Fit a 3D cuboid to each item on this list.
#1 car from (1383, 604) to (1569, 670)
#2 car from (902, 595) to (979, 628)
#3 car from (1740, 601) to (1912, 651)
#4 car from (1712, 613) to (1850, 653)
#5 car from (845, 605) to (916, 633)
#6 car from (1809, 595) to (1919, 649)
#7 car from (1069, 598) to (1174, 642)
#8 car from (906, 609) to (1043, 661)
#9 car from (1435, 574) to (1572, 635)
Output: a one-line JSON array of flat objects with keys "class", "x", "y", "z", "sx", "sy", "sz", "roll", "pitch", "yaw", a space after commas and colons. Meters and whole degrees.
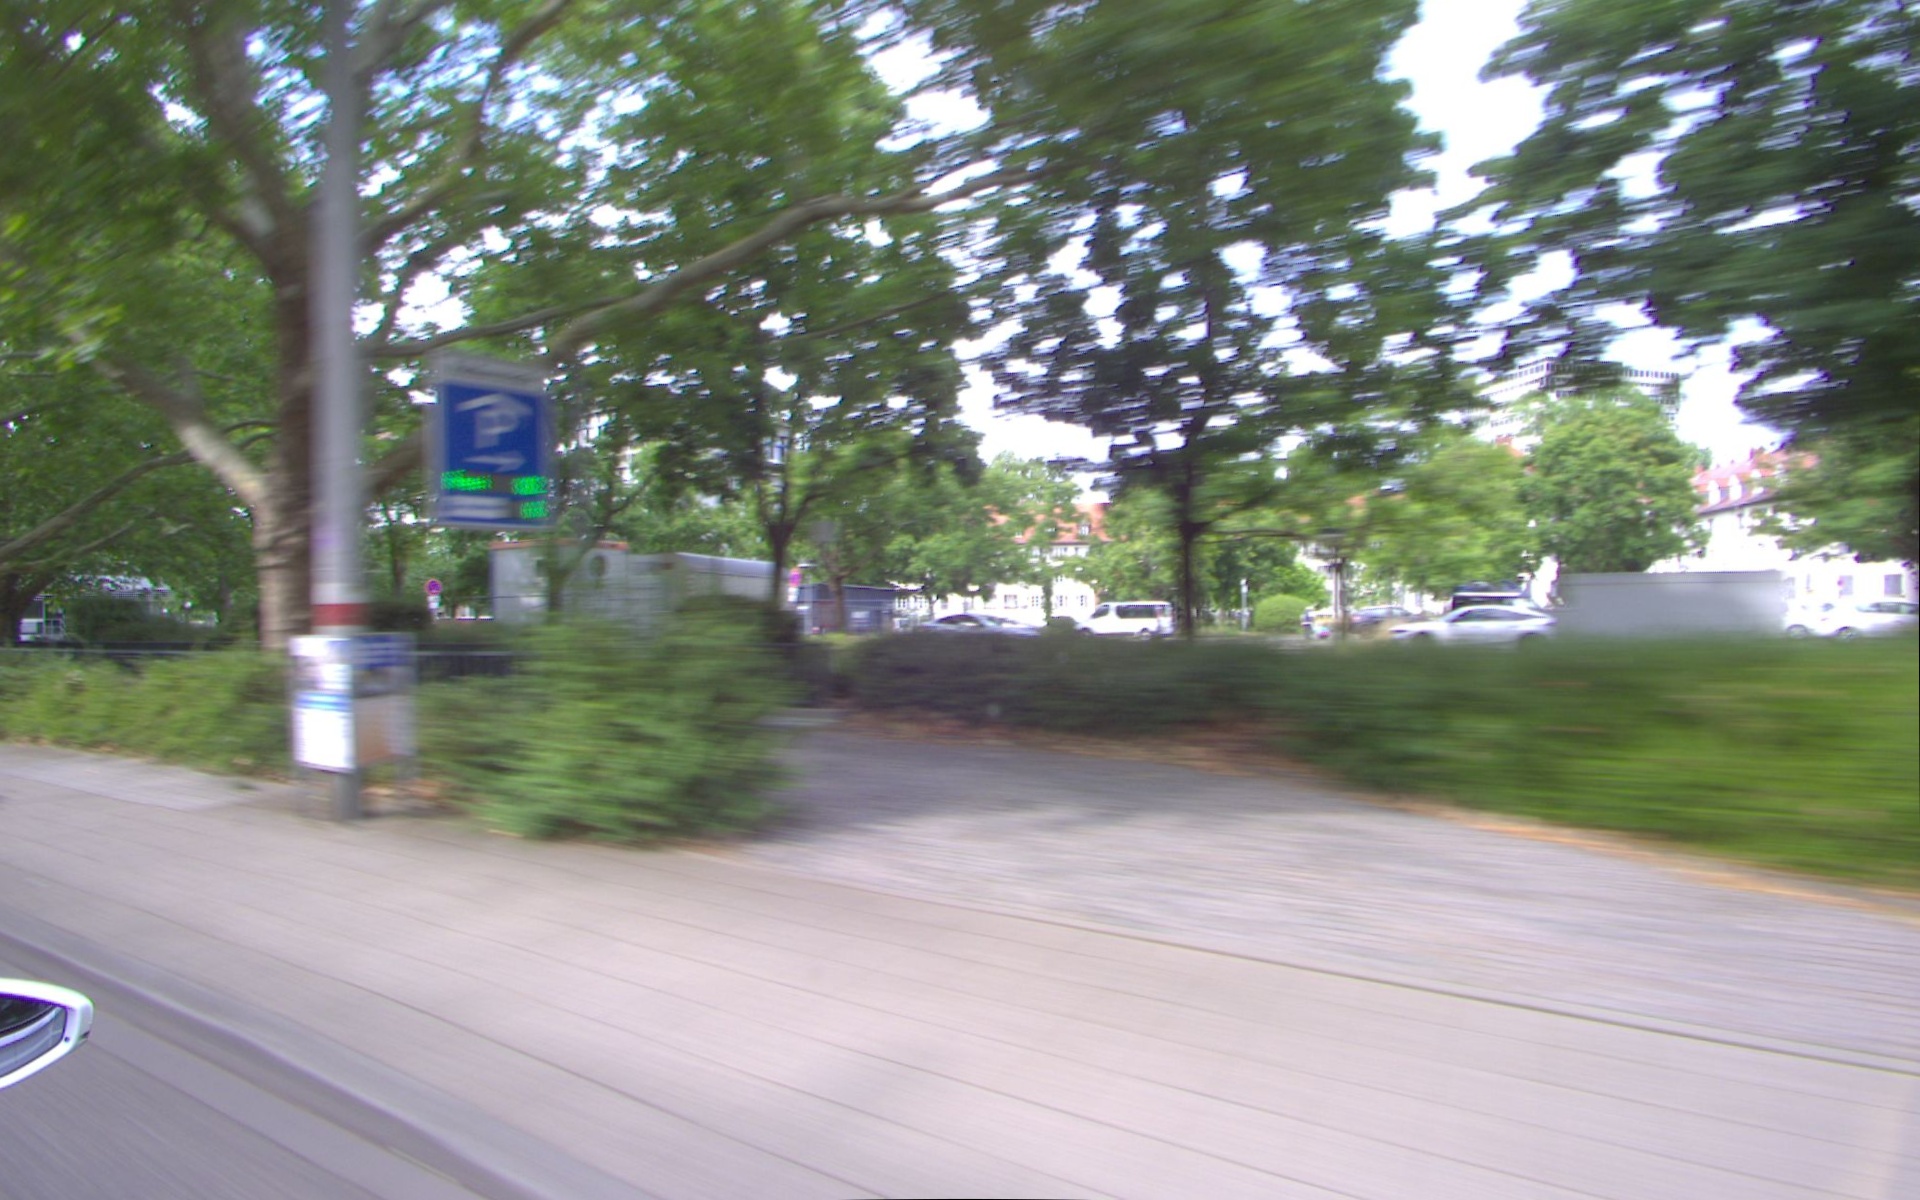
[{"class": "car", "x": 14.985, "y": 1.063, "z": 29.248, "sx": 4.700, "sy": 1.817, "sz": 1.992, "roll": 0, "pitch": -2, "yaw": 29}, {"class": "car", "x": -1.278, "y": 0.772, "z": 66.091, "sx": 4.700, "sy": 2.039, "sz": 1.992, "roll": 0, "pitch": -2, "yaw": 29}, {"class": "car", "x": 33.247, "y": 1.013, "z": 38.661, "sx": 4.701, "sy": 1.817, "sz": 1.992, "roll": 0, "pitch": -2, "yaw": 30}, {"class": "car", "x": 38.249, "y": 1.543, "z": 46.832, "sx": 4.700, "sy": 1.817, "sz": 1.992, "roll": 0, "pitch": -2, "yaw": 29}, {"class": "car", "x": -4.724, "y": 1.157, "z": 59.455, "sx": 3.732, "sy": 1.600, "sz": 1.993, "roll": 0, "pitch": -2, "yaw": 29}, {"class": "car", "x": 30.093, "y": 0.714, "z": 31.673, "sx": 4.706, "sy": 1.651, "sz": 1.990, "roll": -1, "pitch": -2, "yaw": 34}, {"class": "car", "x": 7.904, "y": 0.991, "z": 49.069, "sx": 4.698, "sy": 2.039, "sz": 1.993, "roll": 0, "pitch": -2, "yaw": 27}, {"class": "car", "x": 0.524, "y": 1.292, "z": 37.184, "sx": 4.700, "sy": 1.817, "sz": 1.992, "roll": 0, "pitch": -2, "yaw": 29}, {"class": "car", "x": 25.043, "y": 0.255, "z": 46.302, "sx": 5.413, "sy": 2.646, "sz": 2.433, "roll": 0, "pitch": -2, "yaw": 30}]
